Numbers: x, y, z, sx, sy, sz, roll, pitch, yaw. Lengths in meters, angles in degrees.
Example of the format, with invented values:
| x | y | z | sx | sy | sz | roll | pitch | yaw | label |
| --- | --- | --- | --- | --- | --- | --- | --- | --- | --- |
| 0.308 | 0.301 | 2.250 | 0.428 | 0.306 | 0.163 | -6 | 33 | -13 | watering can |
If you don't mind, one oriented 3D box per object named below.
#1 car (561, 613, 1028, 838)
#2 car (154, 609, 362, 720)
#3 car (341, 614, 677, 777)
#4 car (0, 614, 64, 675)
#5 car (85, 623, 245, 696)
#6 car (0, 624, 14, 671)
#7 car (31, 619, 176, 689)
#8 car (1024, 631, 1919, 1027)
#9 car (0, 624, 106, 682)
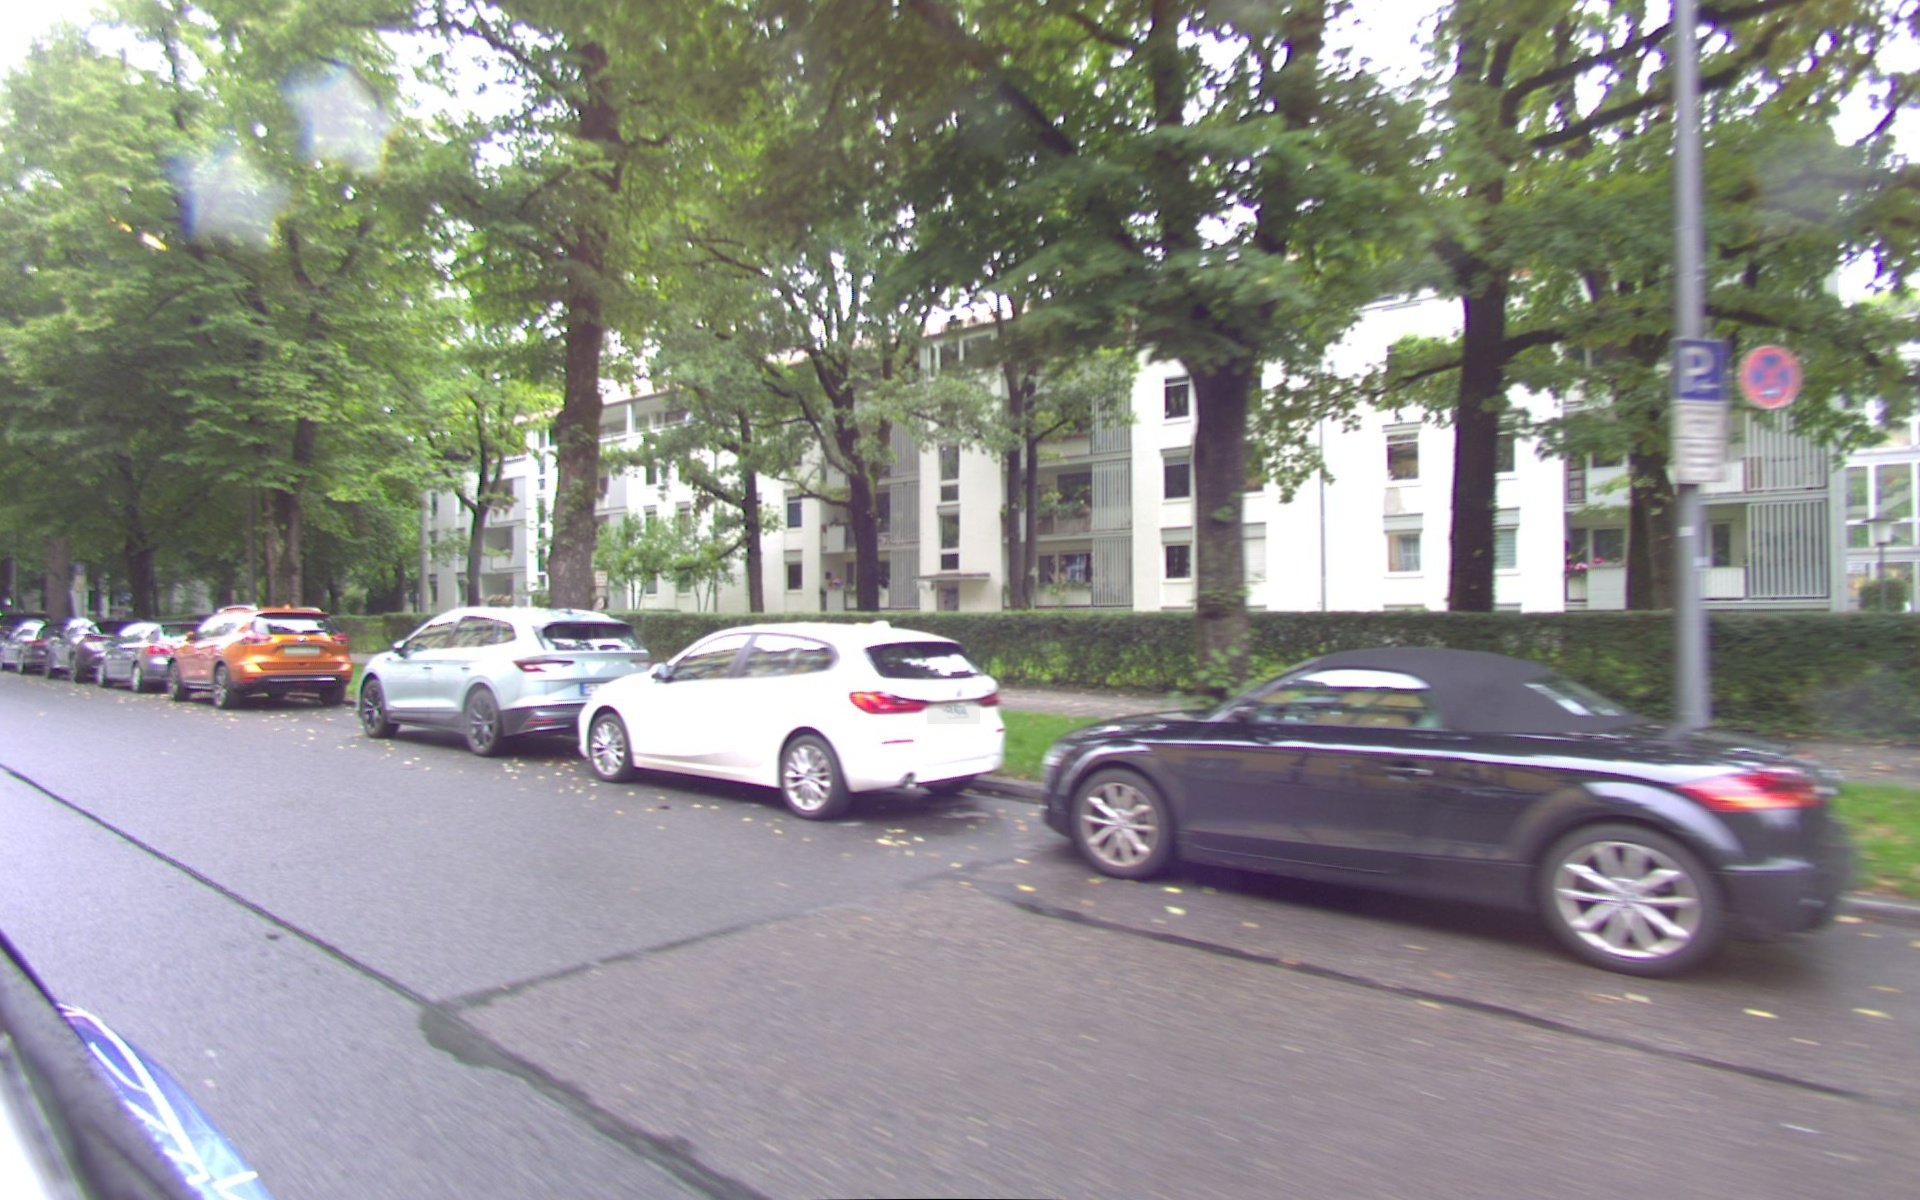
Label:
| x | y | z | sx | sy | sz | roll | pitch | yaw | label |
| --- | --- | --- | --- | --- | --- | --- | --- | --- | --- |
| -1.580 | 0.872 | 8.717 | 4.193 | 1.508 | 1.562 | -1 | -1 | 38 | car |
| -12.618 | 1.052 | 18.087 | 4.636 | 1.741 | 1.854 | -1 | -1 | 39 | car |
| -5.522 | 0.979 | 12.141 | 4.507 | 1.613 | 1.798 | -1 | -1 | 38 | car |
| -30.004 | 1.358 | 31.775 | 4.915 | 1.811 | 1.974 | -1 | -3 | 39 | car |
| -17.202 | 1.215 | 21.844 | 4.244 | 1.433 | 1.711 | -1 | -2 | 37 | car |
| -35.356 | 1.629 | 36.074 | 4.518 | 1.634 | 1.747 | -1 | -4 | 40 | car |
| -21.190 | 1.285 | 24.983 | 4.479 | 1.586 | 1.769 | -1 | -3 | 37 | car |
| 2.423 | 0.868 | 5.467 | 4.041 | 1.353 | 1.561 | -1 | -1 | 40 | car |
| -25.683 | 1.432 | 28.467 | 4.690 | 1.462 | 1.702 | -1 | -1 | 39 | car |
